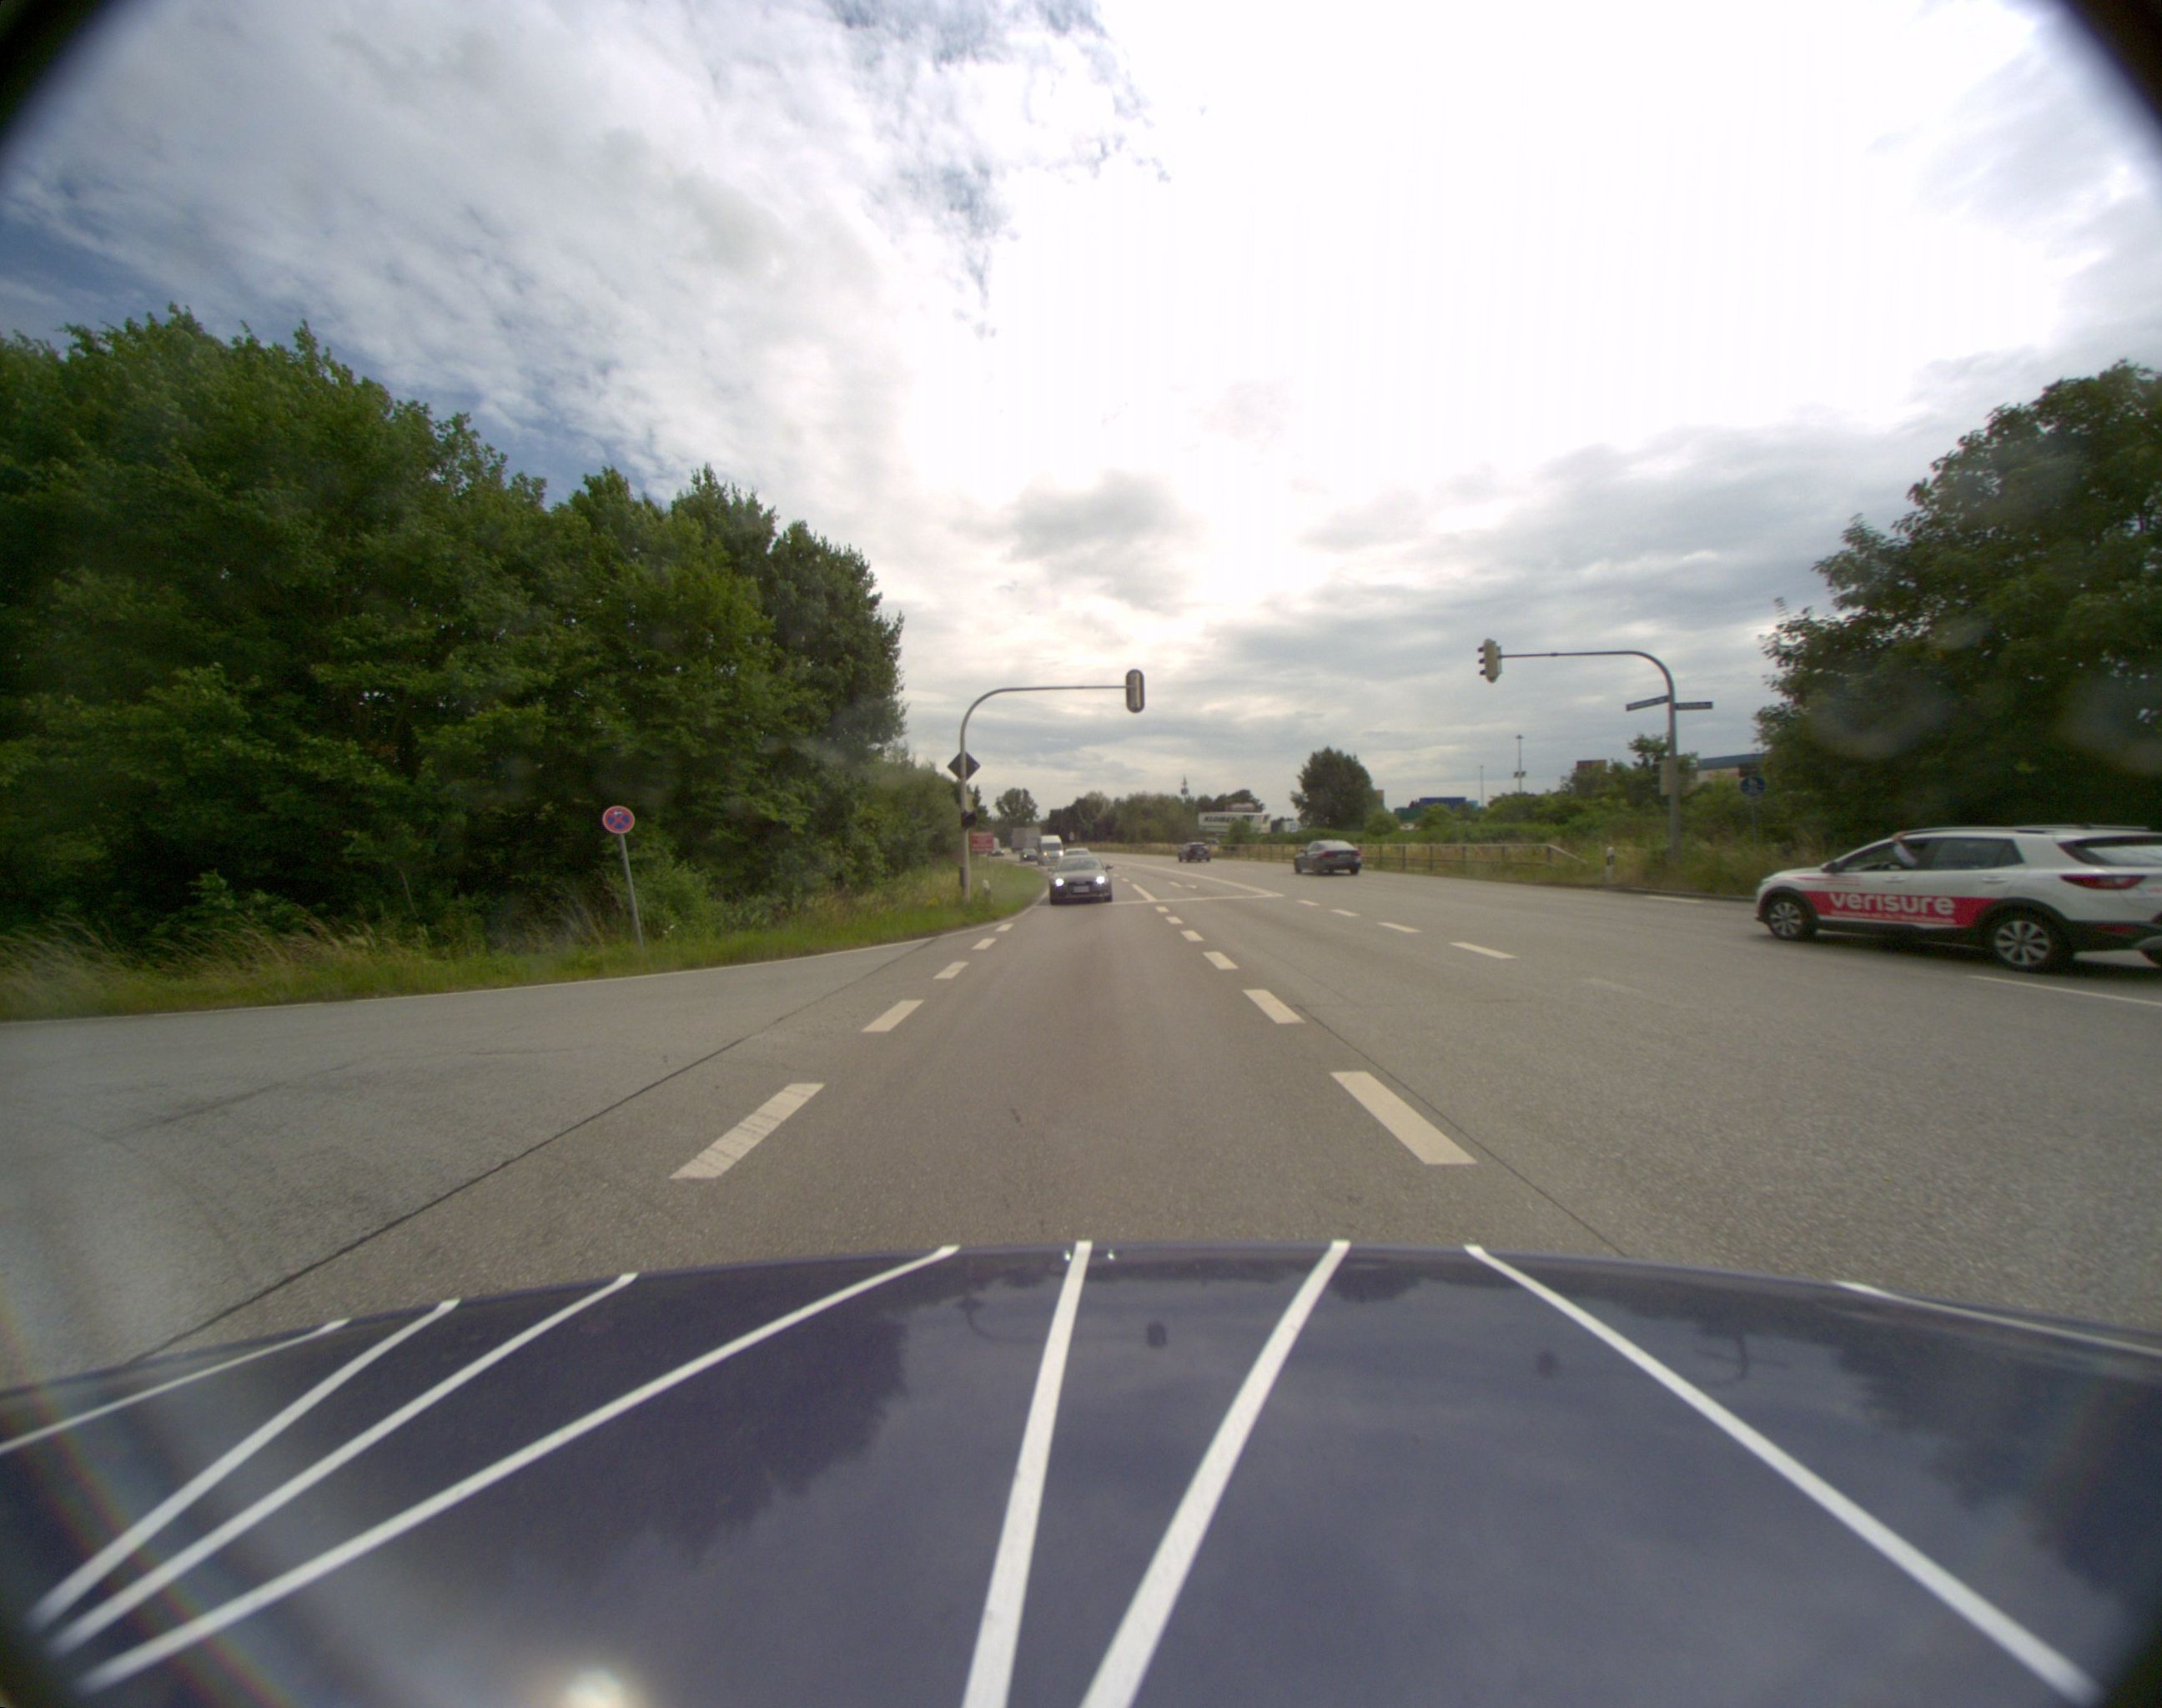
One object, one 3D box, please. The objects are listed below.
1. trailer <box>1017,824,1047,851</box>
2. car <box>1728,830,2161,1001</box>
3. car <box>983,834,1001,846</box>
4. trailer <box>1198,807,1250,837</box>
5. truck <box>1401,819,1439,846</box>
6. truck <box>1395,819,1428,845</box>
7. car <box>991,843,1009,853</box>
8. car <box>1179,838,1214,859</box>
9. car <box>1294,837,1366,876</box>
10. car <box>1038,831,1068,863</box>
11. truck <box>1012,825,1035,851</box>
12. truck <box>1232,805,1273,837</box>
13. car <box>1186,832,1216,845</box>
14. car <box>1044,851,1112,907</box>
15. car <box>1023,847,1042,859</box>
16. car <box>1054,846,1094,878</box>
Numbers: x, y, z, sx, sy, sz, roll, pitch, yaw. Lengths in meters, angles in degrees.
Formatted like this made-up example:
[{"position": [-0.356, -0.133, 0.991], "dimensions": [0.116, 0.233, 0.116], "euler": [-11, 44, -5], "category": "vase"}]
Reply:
[{"position": [-7.875, -2.568, 121.821], "dimensions": [2.538, 4.078, 6.721], "euler": [-3, 2, -24], "category": "trailer"}, {"position": [10.265, 0.514, 8.892], "dimensions": [1.733, 1.496, 4.346], "euler": [-1, 1, 1], "category": "car"}, {"position": [-21.507, -3.432, 183.966], "dimensions": [2.444, 2.659, 6.874], "euler": [-3, 2, -23], "category": "car"}, {"position": [24.746, -5.530, 132.262], "dimensions": [2.812, 4.969, 8.959], "euler": [-5, 3, -39], "category": "trailer"}, {"position": [56.286, -3.483, 126.240], "dimensions": [5.415, 4.269, 2.202], "euler": [-1, 3, 34], "category": "truck"}, {"position": [56.748, -3.715, 130.435], "dimensions": [4.841, 4.269, 2.202], "euler": [-1, 3, 34], "category": "truck"}, {"position": [-12.086, -0.865, 112.905], "dimensions": [1.733, 1.357, 3.992], "euler": [-2, 1, -20], "category": "car"}, {"position": [9.169, -0.423, 60.683], "dimensions": [1.797, 1.564, 3.997], "euler": [-2, 1, -6], "category": "car"}, {"position": [10.978, 0.054, 33.881], "dimensions": [1.792, 1.521, 4.903], "euler": [-2, 1, 3], "category": "car"}, {"position": [-2.673, -0.662, 70.231], "dimensions": [2.220, 2.655, 5.235], "euler": [-5, 2, -6], "category": "car"}, {"position": [-9.539, -2.595, 125.542], "dimensions": [2.551, 4.073, 3.991], "euler": [-3, 2, -24], "category": "truck"}, {"position": [28.730, -5.521, 127.427], "dimensions": [2.809, 4.969, 6.173], "euler": [-5, 3, -39], "category": "truck"}, {"position": [19.102, -2.433, 120.456], "dimensions": [4.539, 1.865, 2.001], "euler": [-2, 2, 11], "category": "car"}, {"position": [-0.086, 0.720, 24.318], "dimensions": [1.957, 1.527, 3.999], "euler": [-2, 1, 0], "category": "car"}, {"position": [-5.469, -0.138, 85.739], "dimensions": [1.732, 1.357, 3.996], "euler": [-1, 1, -9], "category": "car"}, {"position": [-0.451, 0.422, 45.280], "dimensions": [2.021, 1.604, 4.277], "euler": [-3, 2, -4], "category": "car"}]
